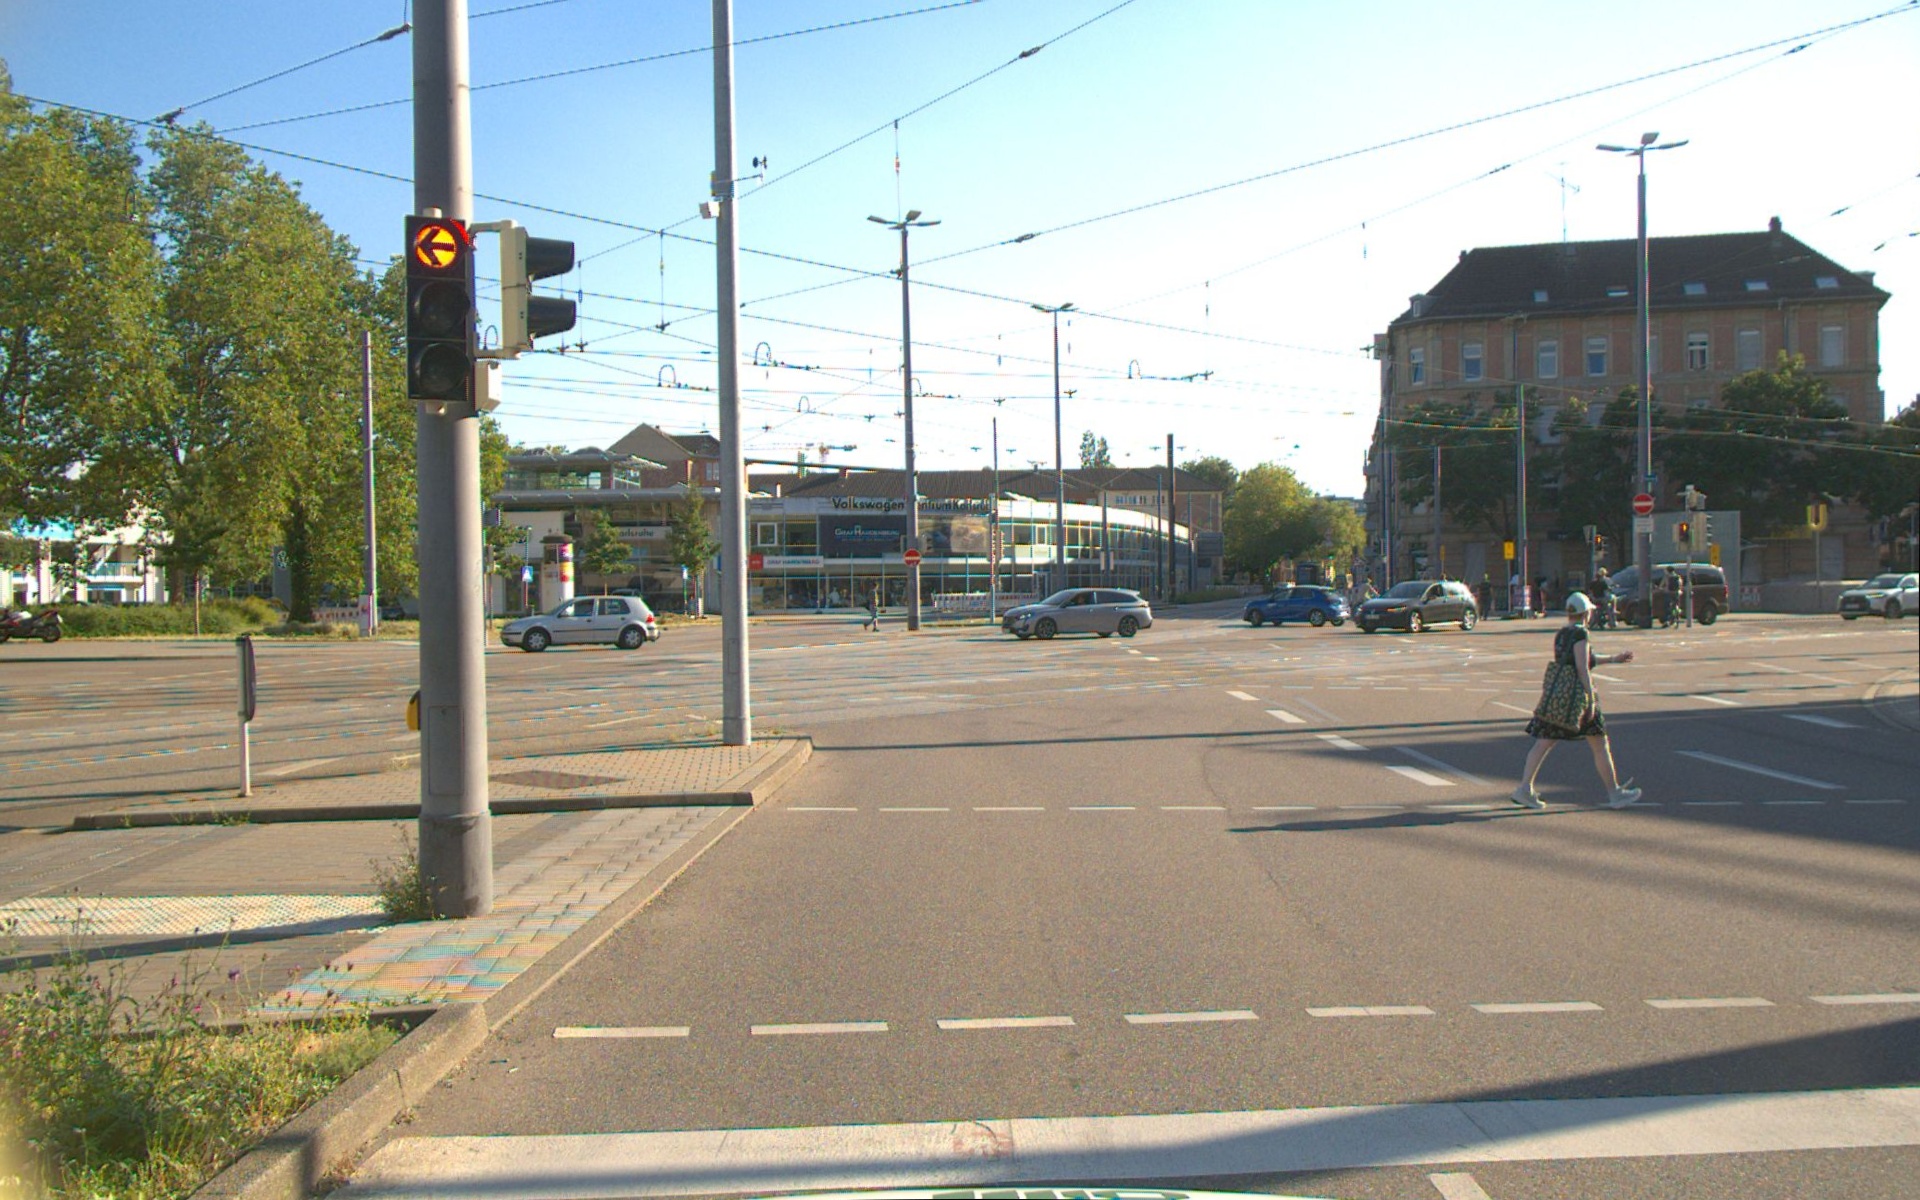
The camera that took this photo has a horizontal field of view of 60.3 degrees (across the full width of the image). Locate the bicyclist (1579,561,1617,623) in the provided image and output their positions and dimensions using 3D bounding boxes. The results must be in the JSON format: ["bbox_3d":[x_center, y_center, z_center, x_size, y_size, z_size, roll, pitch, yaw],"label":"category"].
[{"bbox_3d":[18.821,-0.226,48.775,0.578,1.809,0.856,-1,0,-34],"label":"bicyclist"}]

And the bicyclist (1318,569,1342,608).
[{"bbox_3d":[18.809,-0.604,84.153,1.095,1.933,1.074,1,2,17],"label":"bicyclist"}]

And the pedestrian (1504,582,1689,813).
[{"bbox_3d":[4.721,0.695,12.309,1.073,1.634,0.697,0,2,-11],"label":"pedestrian"}]

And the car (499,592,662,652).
[{"bbox_3d":[-10.103,0.558,44.000,4.035,1.477,1.942,-1,0,-20],"label":"car"}]

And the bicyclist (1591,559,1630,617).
[{"bbox_3d":[19.342,-0.365,49.161,0.644,1.720,0.849,-1,2,-36],"label":"bicyclist"}]

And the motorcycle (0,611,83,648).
[{"bbox_3d":[-28.087,0.890,50.465,2.246,1.072,0.685,0,2,-14],"label":"motorcycle"}]

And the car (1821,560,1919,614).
[{"bbox_3d":[33.023,-0.493,58.470,4.767,1.830,1.941,-1,0,-22],"label":"car"}]

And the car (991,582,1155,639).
[{"bbox_3d":[3.352,0.290,49.050,4.481,1.544,1.940,-1,0,-22],"label":"car"}]

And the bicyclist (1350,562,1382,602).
[{"bbox_3d":[16.259,-0.729,66.235,0.911,1.586,0.854,-1,2,-23],"label":"bicyclist"}]

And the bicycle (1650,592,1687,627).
[{"bbox_3d":[21.079,0.269,49.233,0.839,0.921,2.305,1,2,19],"label":"bicycle"}]

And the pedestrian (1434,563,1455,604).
[{"bbox_3d":[19.978,-0.695,68.169,0.635,1.682,0.549,-1,0,-38],"label":"pedestrian"}]

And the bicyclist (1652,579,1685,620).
[{"bbox_3d":[21.040,-0.013,49.126,0.839,1.197,0.715,1,2,19],"label":"bicyclist"}]

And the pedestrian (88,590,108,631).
[{"bbox_3d":[-43.968,0.527,84.363,0.576,2.049,0.710,-1,0,-1],"label":"pedestrian"}]

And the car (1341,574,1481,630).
[{"bbox_3d":[13.041,0.033,47.764,4.062,1.512,1.926,-1,0,-39],"label":"car"}]

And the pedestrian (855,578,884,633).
[{"bbox_3d":[-3.095,0.169,56.824,0.969,1.847,0.920,0,2,-2],"label":"pedestrian"}]

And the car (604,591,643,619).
[{"bbox_3d":[-20.474,0.286,100.801,1.955,1.561,3.996,0,2,-6],"label":"car"}]

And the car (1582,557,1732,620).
[{"bbox_3d":[22.611,-0.380,53.621,4.781,1.926,1.935,-1,0,-29],"label":"car"}]

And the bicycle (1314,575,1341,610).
[{"bbox_3d":[18.719,-0.371,84.120,1.111,1.719,4.003,-1,0,16],"label":"bicycle"}]

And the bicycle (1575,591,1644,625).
[{"bbox_3d":[19.312,0.233,49.139,2.278,0.921,0.849,-1,2,-37],"label":"bicycle"}]

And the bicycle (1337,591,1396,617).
[{"bbox_3d":[16.274,0.149,66.270,2.266,0.996,0.854,-1,2,-24],"label":"bicycle"}]

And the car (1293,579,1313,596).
[{"bbox_3d":[35.878,-1.319,173.005,1.763,1.684,3.921,0,2,8],"label":"car"}]

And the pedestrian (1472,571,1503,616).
[{"bbox_3d":[20.591,-0.252,64.579,0.905,1.705,0.782,-1,0,-1],"label":"pedestrian"}]

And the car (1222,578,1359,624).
[{"bbox_3d":[12.055,0.056,60.455,4.531,1.622,1.944,-1,0,40],"label":"car"}]
